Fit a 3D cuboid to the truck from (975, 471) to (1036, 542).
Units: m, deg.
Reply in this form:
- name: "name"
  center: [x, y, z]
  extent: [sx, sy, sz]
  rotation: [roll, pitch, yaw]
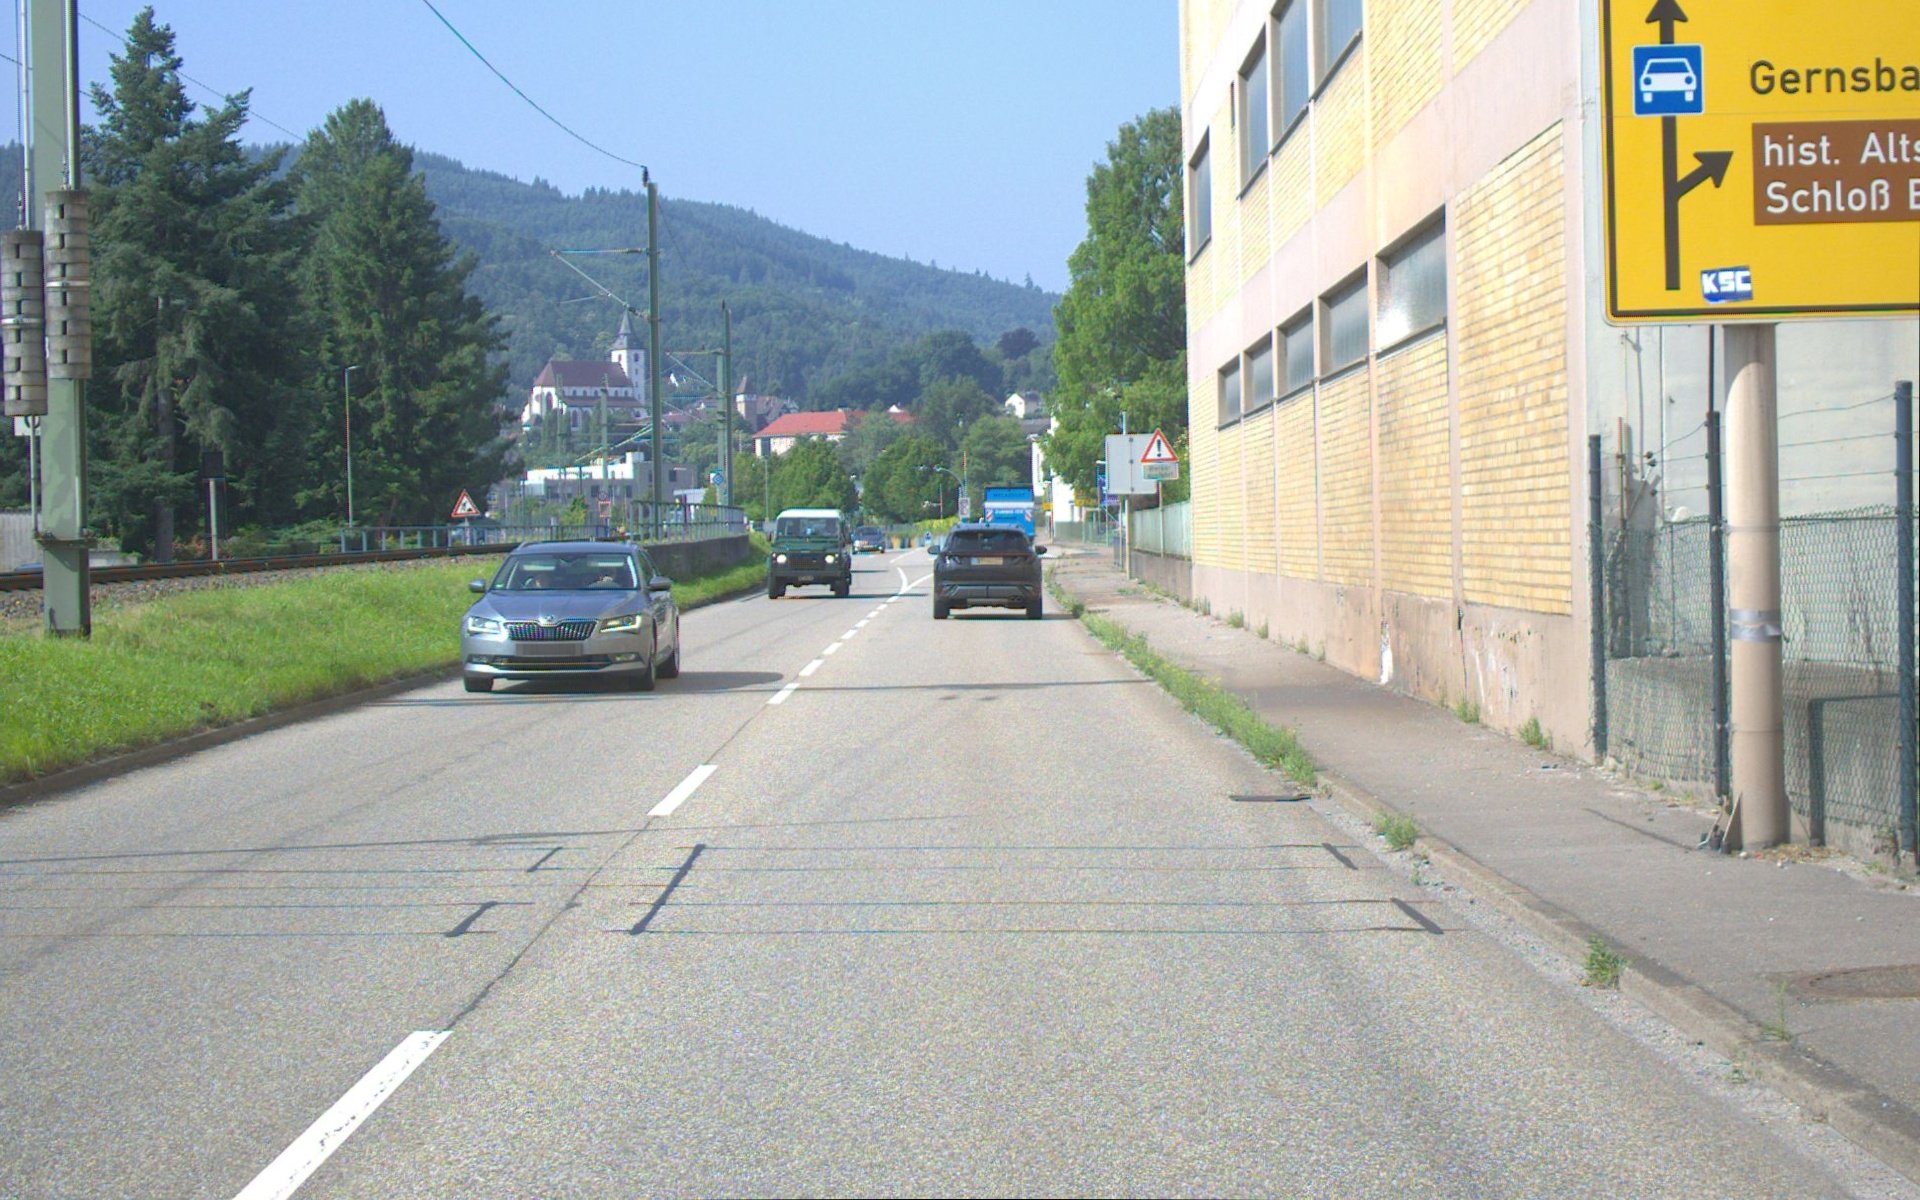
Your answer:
- name: "truck"
  center: [1.917, -4.032, 147.521]
  extent: [2.312, 2.959, 5.966]
  rotation: [-1, 2, -2]

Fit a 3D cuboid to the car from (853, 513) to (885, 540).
- name: "car"
  center: [-5.051, -4.091, 191.086]
  extent: [1.741, 1.502, 4.200]
  rotation: [-1, 1, -1]

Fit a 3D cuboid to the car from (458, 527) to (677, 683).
- name: "car"
  center: [-3.881, 0.002, 34.602]
  extent: [1.767, 1.400, 4.297]
  rotation: [-2, 1, -1]

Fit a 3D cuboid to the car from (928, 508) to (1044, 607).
- name: "car"
  center: [0.462, -0.763, 59.804]
  extent: [1.919, 1.634, 4.000]
  rotation: [-1, 1, 1]

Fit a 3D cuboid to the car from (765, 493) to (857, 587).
- name: "car"
  center: [-3.379, -1.400, 78.686]
  extent: [1.758, 2.071, 4.808]
  rotation: [0, 2, 1]
